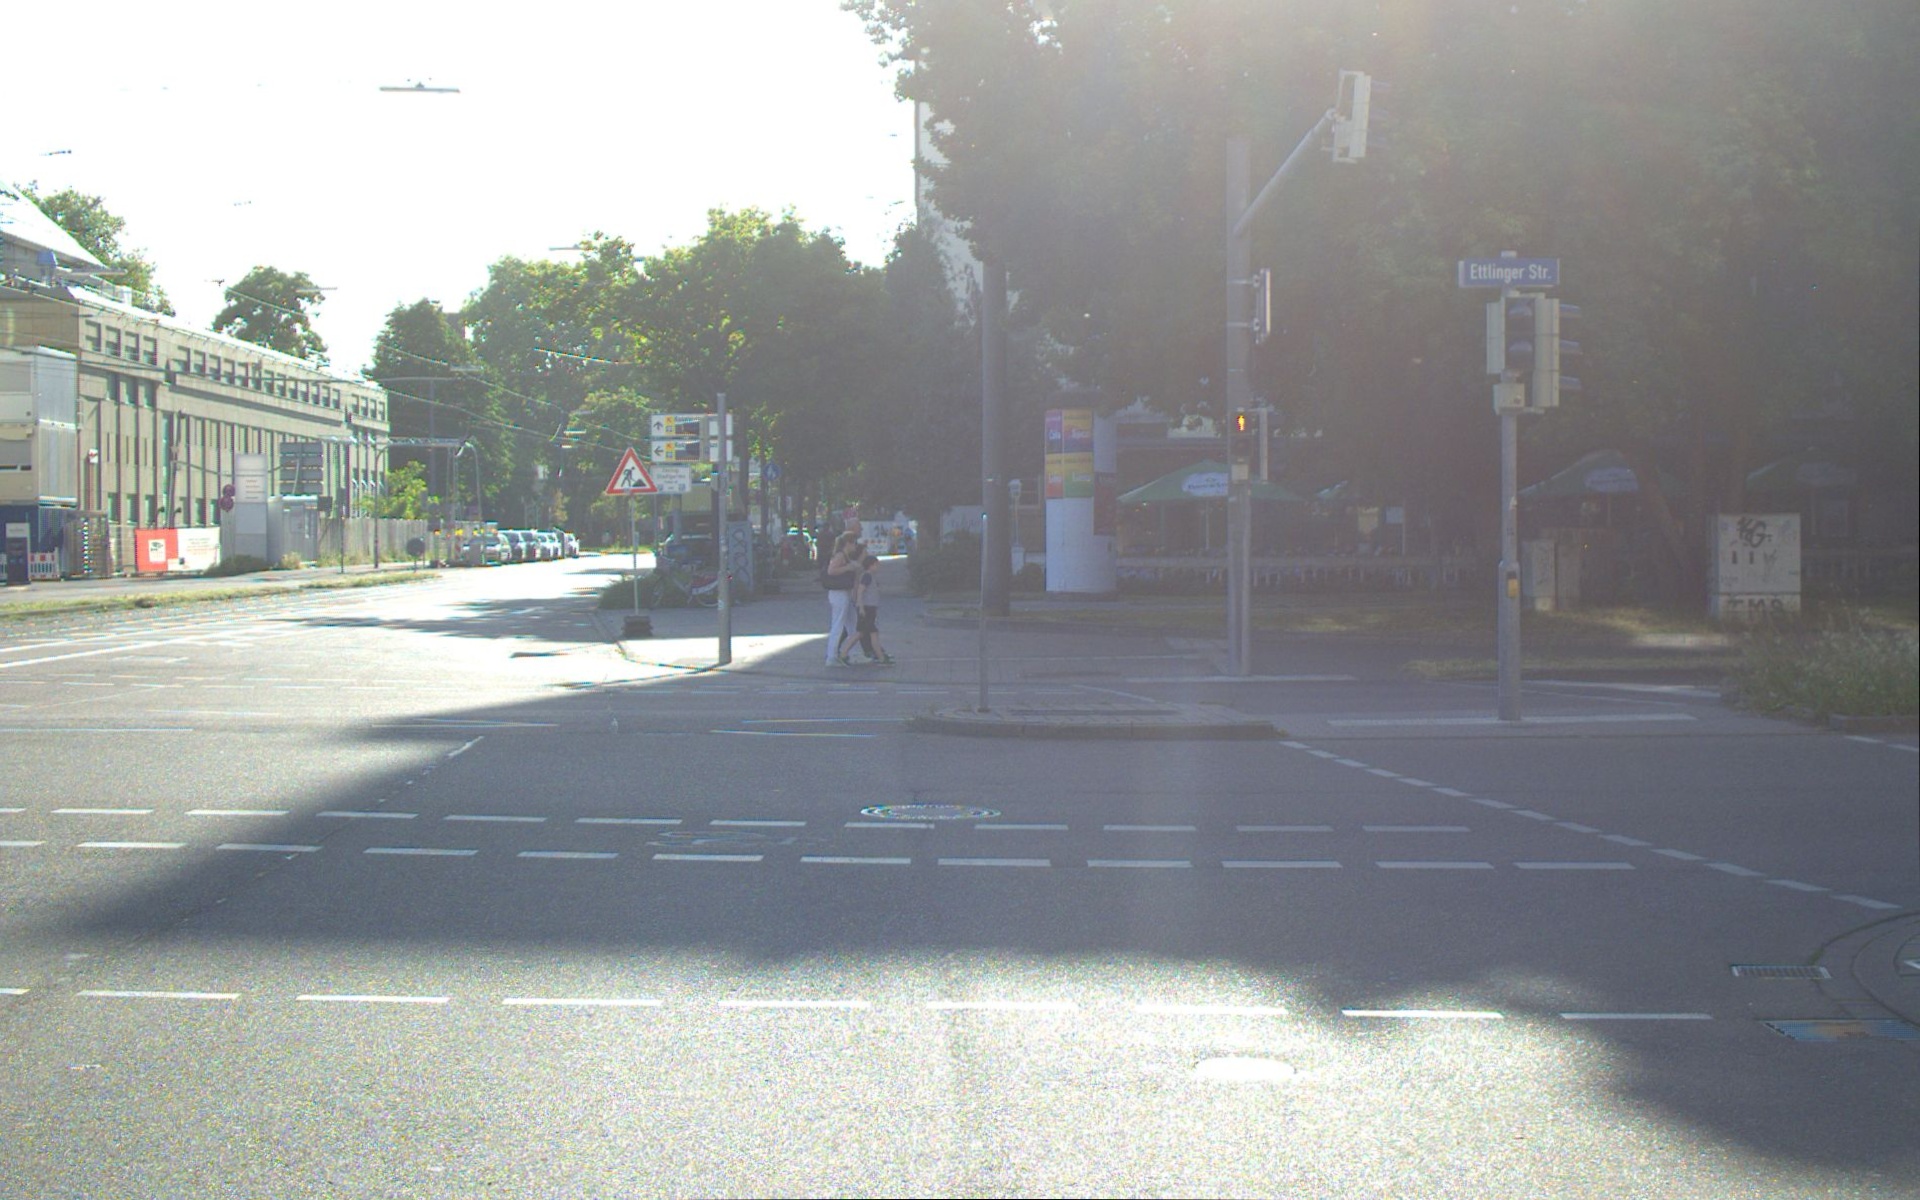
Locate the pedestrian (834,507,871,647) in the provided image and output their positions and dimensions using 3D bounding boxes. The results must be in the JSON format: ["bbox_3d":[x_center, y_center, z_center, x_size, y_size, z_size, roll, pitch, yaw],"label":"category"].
[{"bbox_3d":[-1.401,-0.303,44.677,0.361,1.798,0.506,0,1,11],"label":"pedestrian"}]

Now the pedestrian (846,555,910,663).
[{"bbox_3d":[-1.019,0.104,42.945,0.752,1.328,0.742,0,1,1],"label":"pedestrian"}]

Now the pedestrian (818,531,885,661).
[{"bbox_3d":[-1.374,-0.061,43.640,0.795,1.634,0.533,0,1,2],"label":"pedestrian"}]

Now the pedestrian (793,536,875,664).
[{"bbox_3d":[-1.587,-0.002,43.336,0.984,1.582,0.660,0,0,1],"label":"pedestrian"}]

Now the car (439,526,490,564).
[{"bbox_3d":[-22.482,-2.502,156.104,1.731,1.647,4.000,0,1,-1],"label":"car"}]

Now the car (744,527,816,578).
[{"bbox_3d":[-4.697,-1.253,89.968,1.819,1.274,4.001,0,1,-3],"label":"car"}]

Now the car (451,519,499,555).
[{"bbox_3d":[-22.586,-2.920,160.188,1.731,1.647,4.000,0,1,-1],"label":"car"}]

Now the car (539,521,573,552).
[{"bbox_3d":[-22.828,-3.574,194.256,1.483,1.744,4.000,-1,1,-1],"label":"car"}]

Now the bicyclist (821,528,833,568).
[{"bbox_3d":[-3.803,-1.486,98.402,0.318,1.123,0.291,-1,1,-1],"label":"bicyclist"}]

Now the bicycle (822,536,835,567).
[{"bbox_3d":[-3.777,-1.392,98.492,0.324,0.865,1.483,-1,1,-1],"label":"bicycle"}]

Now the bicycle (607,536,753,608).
[{"bbox_3d":[-5.469,-0.552,67.147,2.748,1.363,0.630,1,0,11],"label":"bicycle"}]
